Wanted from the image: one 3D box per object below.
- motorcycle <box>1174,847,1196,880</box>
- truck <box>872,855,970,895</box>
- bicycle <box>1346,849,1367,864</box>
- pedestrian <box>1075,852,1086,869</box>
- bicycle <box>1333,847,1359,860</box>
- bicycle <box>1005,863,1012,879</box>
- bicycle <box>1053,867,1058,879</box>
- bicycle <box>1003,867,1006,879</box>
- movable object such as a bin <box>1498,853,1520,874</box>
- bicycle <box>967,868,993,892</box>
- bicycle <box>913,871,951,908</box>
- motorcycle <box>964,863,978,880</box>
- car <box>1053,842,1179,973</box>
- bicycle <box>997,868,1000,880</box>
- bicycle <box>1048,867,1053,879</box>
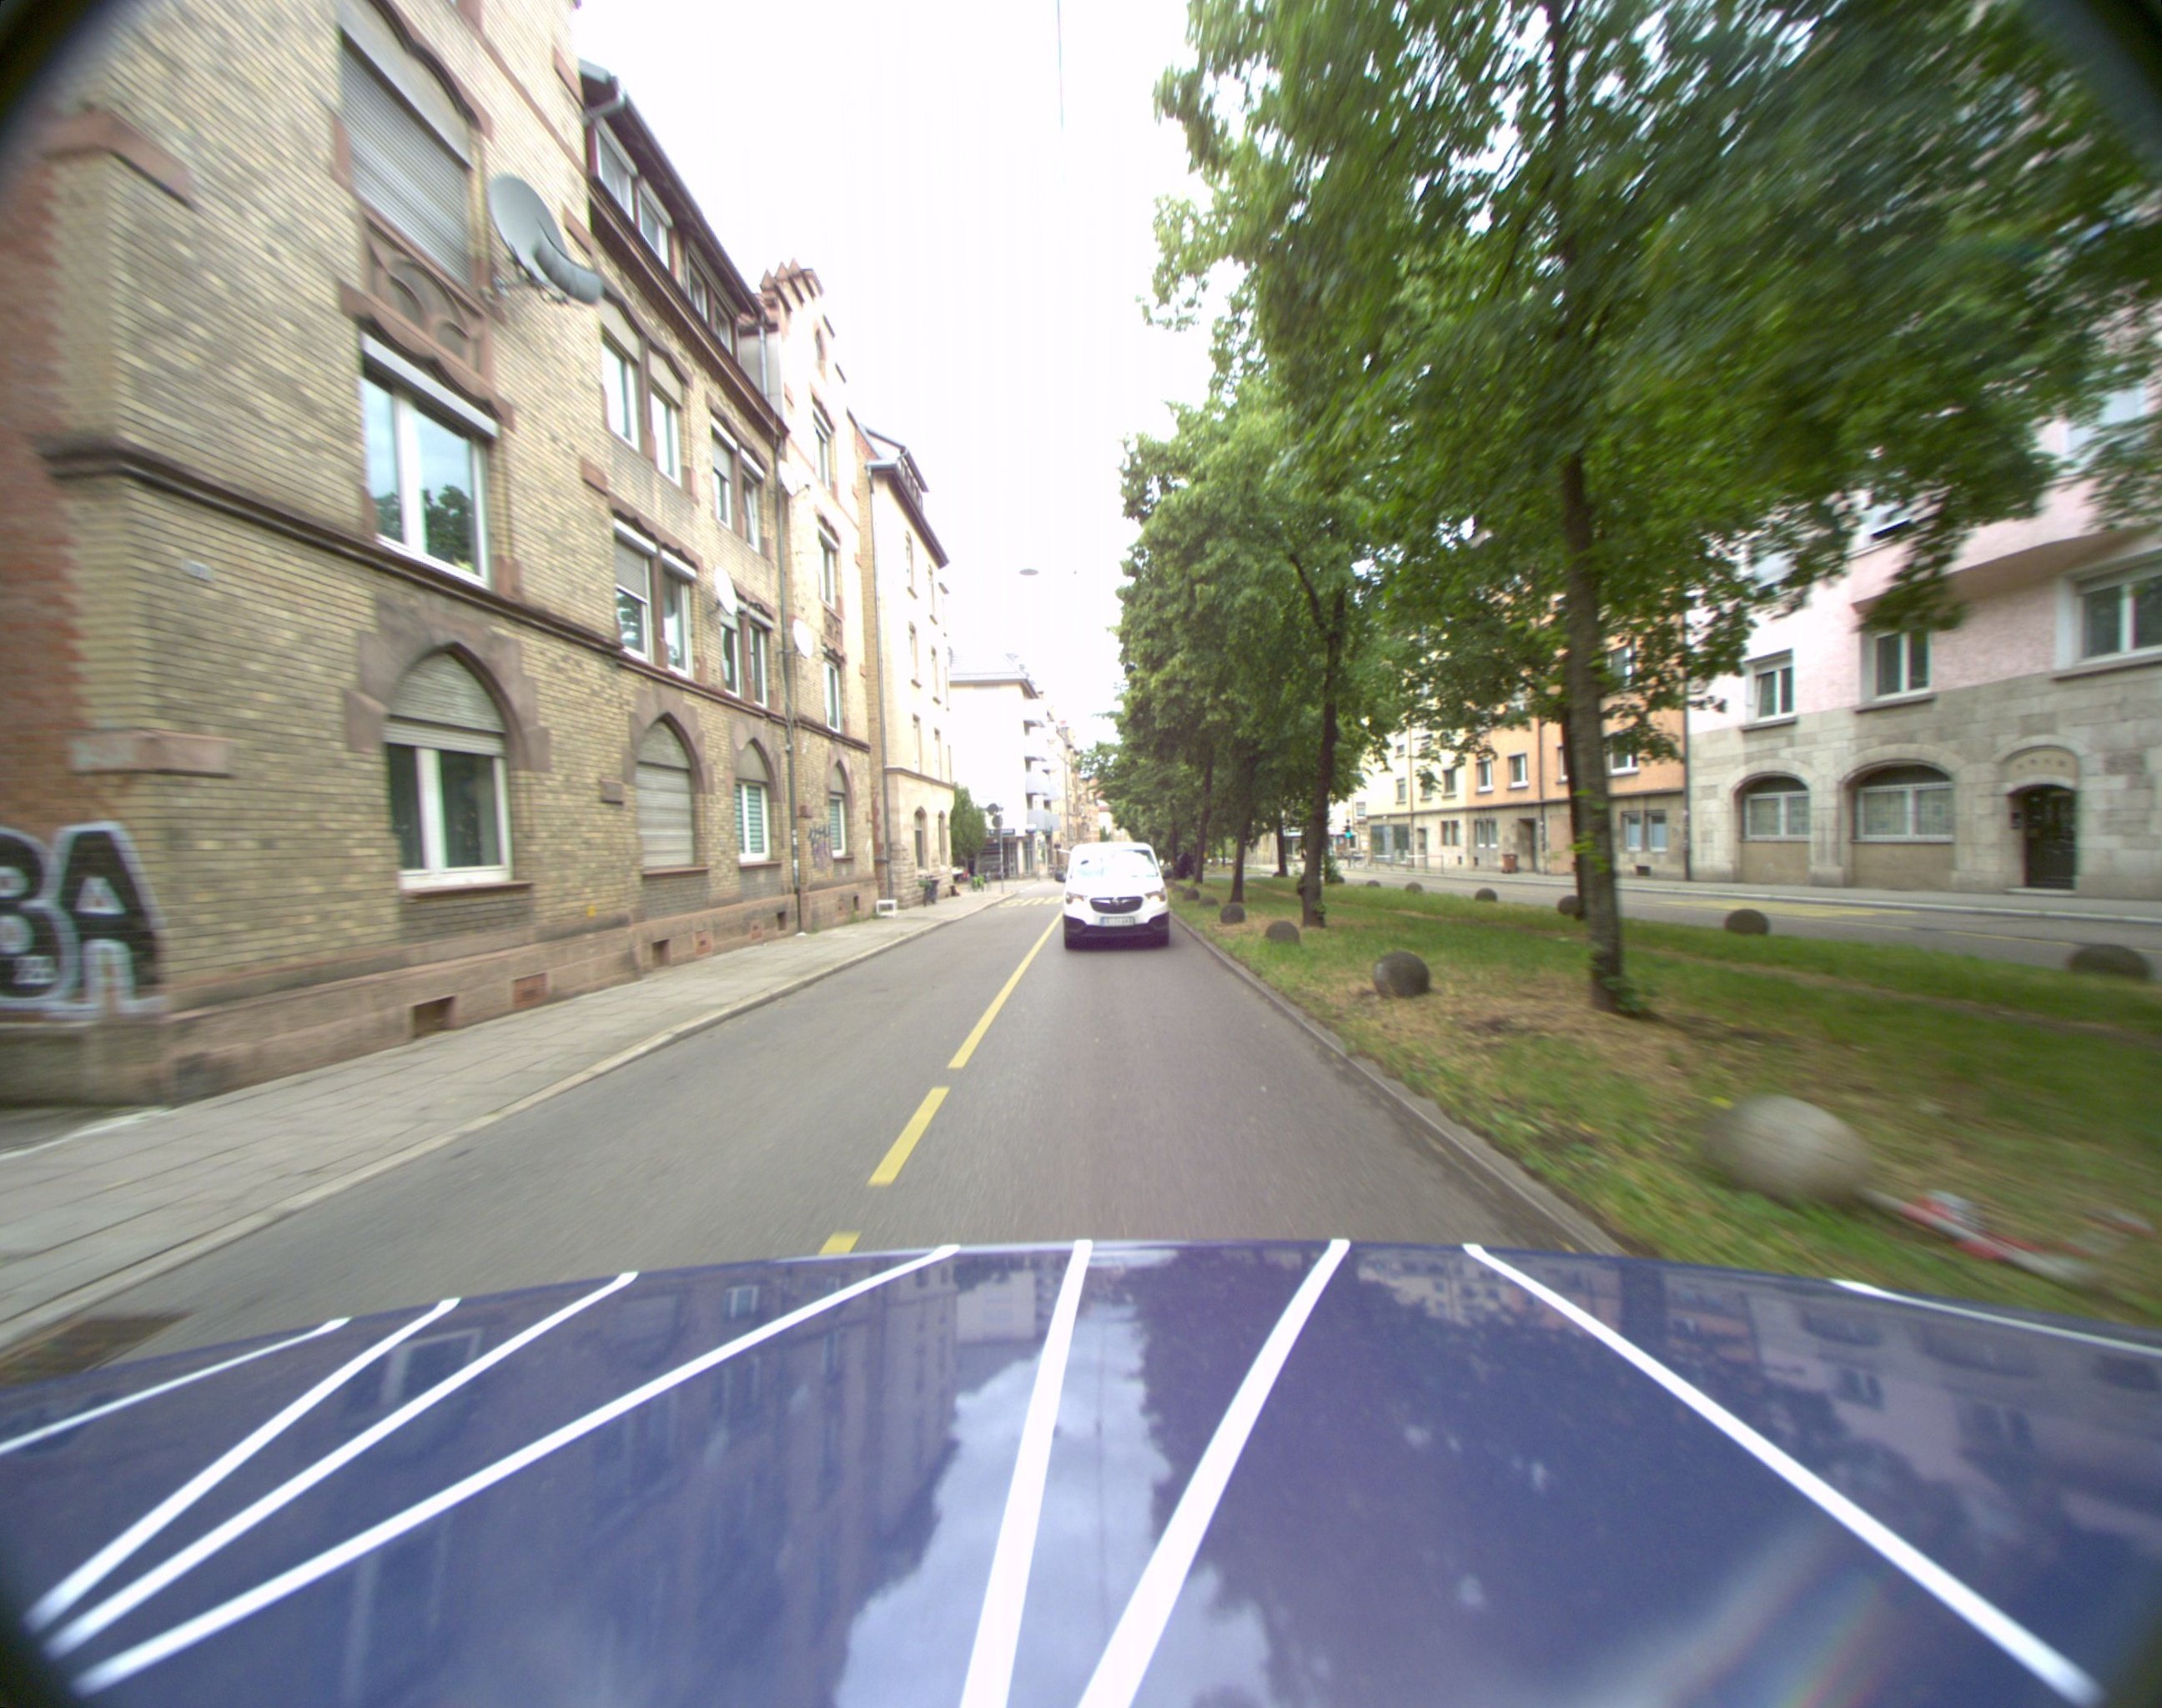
[{"bbox_3d":[4.953,0.494,36.347,0.825,1.521,2.625,0,-2,4],"label":"motorcycle"},{"bbox_3d":[-10.326,1.382,49.626,5.858,2.093,2.554,-4,-2,-5],"label":"truck"},{"bbox_3d":[22.583,0.220,62.340,0.684,1.142,2.057,-4,-1,-9],"label":"bicycle"},{"bbox_3d":[-0.066,0.790,92.566,1.083,2.002,1.204,-3,0,4],"label":"pedestrian"},{"bbox_3d":[25.769,-0.075,73.854,2.345,1.094,0.775,-3,0,22],"label":"bicycle"},{"bbox_3d":[-5.577,1.289,58.354,0.400,1.197,1.284,-4,0,-4],"label":"bicycle"},{"bbox_3d":[-2.040,1.523,60.096,0.154,0.902,1.286,-3,0,7],"label":"bicycle"},{"bbox_3d":[-5.749,1.450,57.242,0.120,0.902,1.284,-3,0,-4],"label":"bicycle"},{"bbox_3d":[19.225,0.428,34.129,0.513,0.921,0.779,-3,0,3],"label":"movable object such as a bin"},{"bbox_3d":[-5.048,1.272,38.210,0.683,1.142,2.941,-2,-1,3],"label":"bicycle"},{"bbox_3d":[-5.305,1.246,27.234,0.683,1.143,2.483,-2,1,3],"label":"bicycle"},{"bbox_3d":[-8.102,1.303,55.947,0.591,1.190,1.931,0,0,4],"label":"motorcycle"},{"bbox_3d":[0.642,0.745,13.115,1.745,1.830,4.343,-2,1,4],"label":"car"},{"bbox_3d":[-6.336,1.522,58.273,0.184,0.902,1.236,-3,0,-4],"label":"bicycle"},{"bbox_3d":[-2.389,1.514,60.145,0.154,0.902,1.286,-3,0,7],"label":"bicycle"}]
